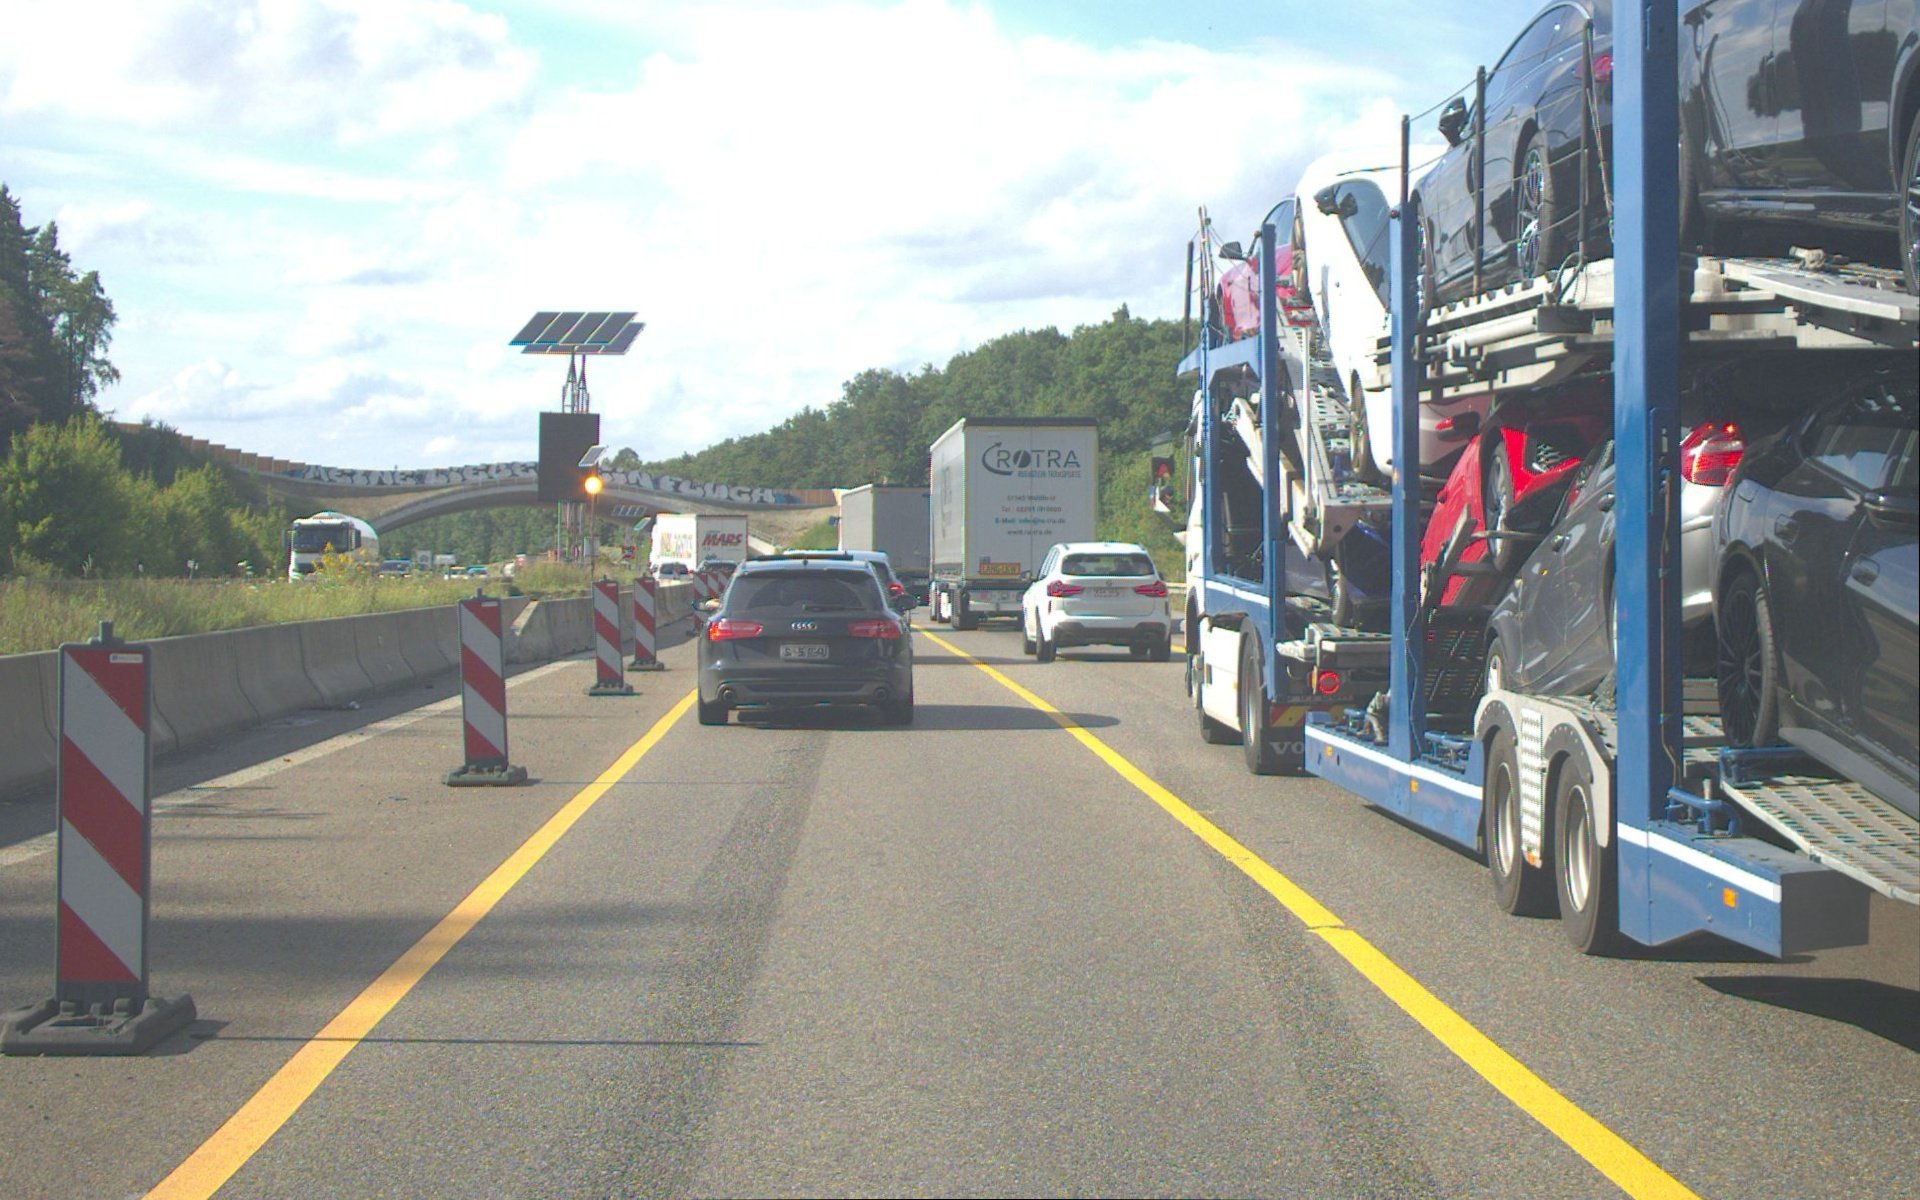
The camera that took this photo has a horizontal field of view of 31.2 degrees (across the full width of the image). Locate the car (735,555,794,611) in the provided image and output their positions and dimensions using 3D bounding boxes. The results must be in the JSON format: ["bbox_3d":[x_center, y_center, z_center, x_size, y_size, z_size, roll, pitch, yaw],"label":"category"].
[{"bbox_3d":[-7.134,-0.640,125.239,1.993,2.007,4.001,0,0,-5],"label":"car"}]

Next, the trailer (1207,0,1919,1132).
[{"bbox_3d":[3.937,-0.823,15.180,3.726,4.182,16.229,0,1,-3],"label":"trailer"}]

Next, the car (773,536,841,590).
[{"bbox_3d":[-4.810,-1.150,107.762,1.890,1.638,4.018,0,1,-6],"label":"car"}]

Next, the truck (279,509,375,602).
[{"bbox_3d":[-24.067,-1.688,130.914,2.785,3.478,4.939,0,0,-1],"label":"truck"}]

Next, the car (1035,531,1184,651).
[{"bbox_3d":[2.113,-0.140,49.474,1.890,1.638,4.018,0,1,-1],"label":"car"}]

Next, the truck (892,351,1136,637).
[{"bbox_3d":[0.851,-2.058,72.639,3.677,5.335,16.204,0,1,-4],"label":"truck"}]

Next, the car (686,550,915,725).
[{"bbox_3d":[-1.358,0.297,30.576,1.890,1.441,4.000,0,1,-1],"label":"car"}]

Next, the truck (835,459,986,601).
[{"bbox_3d":[-1.809,-2.329,117.540,4.318,4.584,11.127,0,1,-5],"label":"truck"}]

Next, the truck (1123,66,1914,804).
[{"bbox_3d":[3.389,-0.972,23.617,3.761,4.182,7.952,0,0,-3],"label":"truck"}]

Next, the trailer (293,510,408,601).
[{"bbox_3d":[-24.199,-1.762,137.039,2.802,3.478,11.113,0,1,-1],"label":"trailer"}]

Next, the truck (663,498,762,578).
[{"bbox_3d":[-12.570,-3.098,173.823,3.653,3.915,11.070,0,1,-11],"label":"truck"}]
